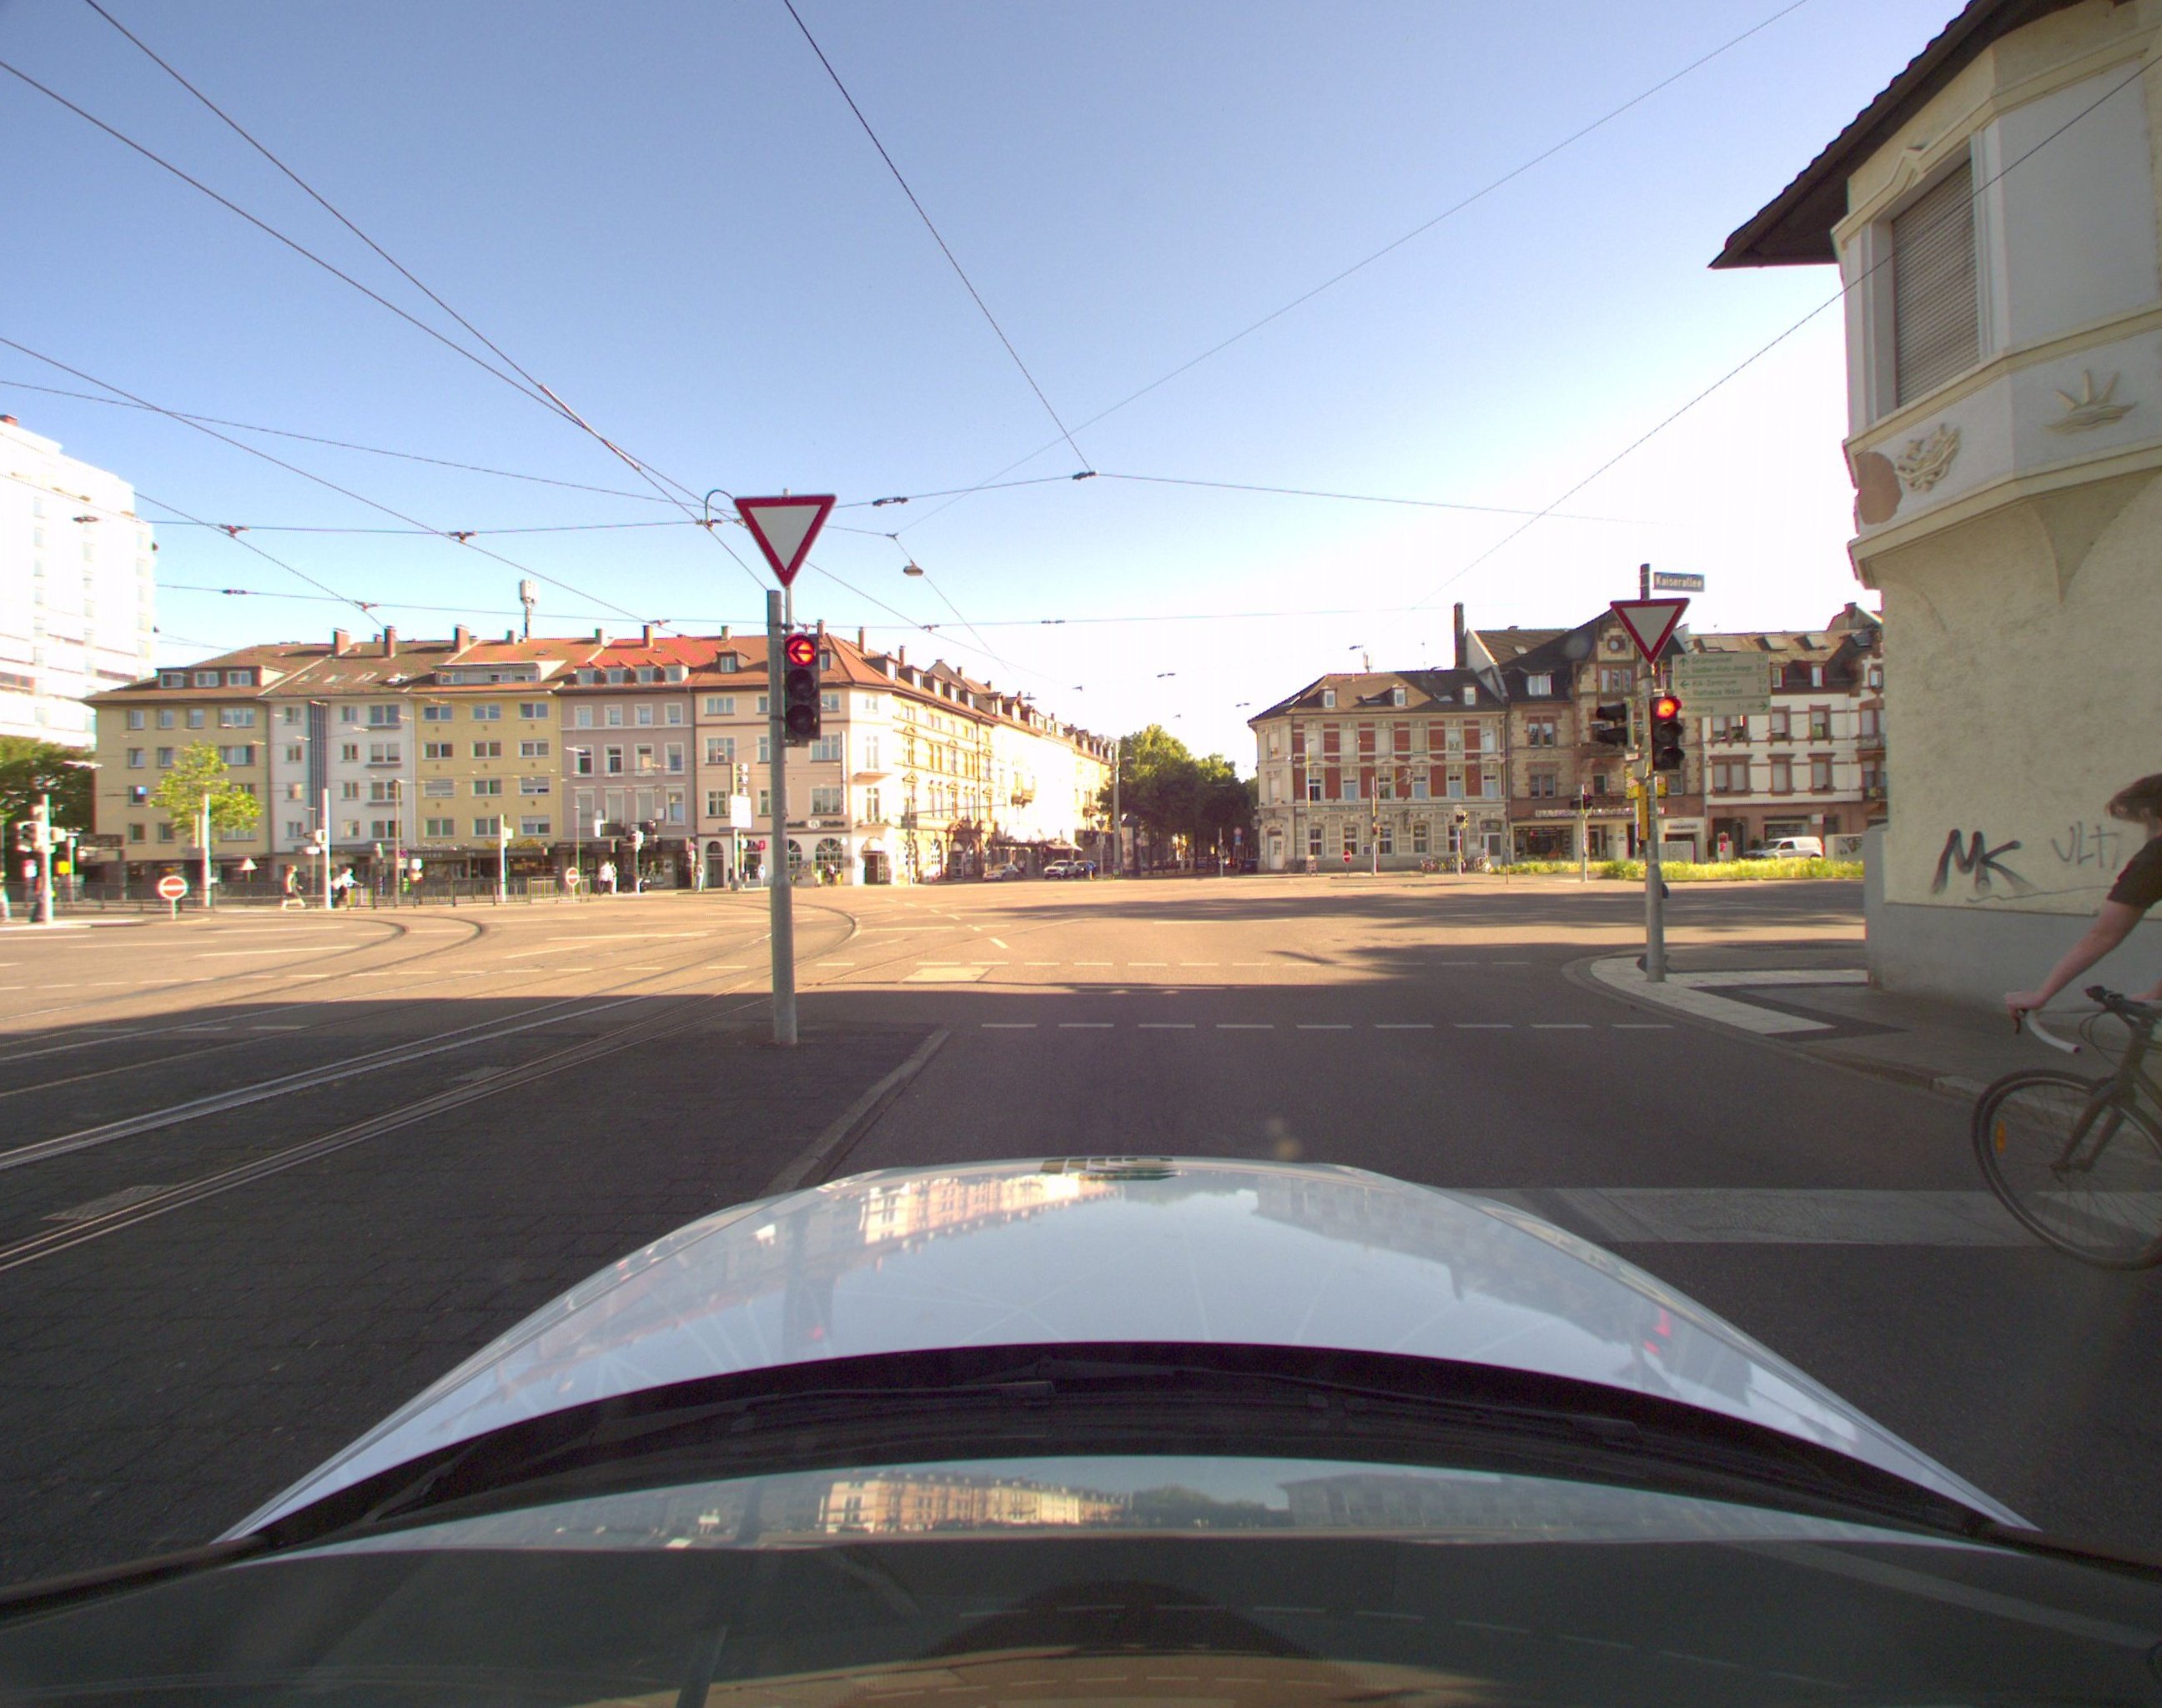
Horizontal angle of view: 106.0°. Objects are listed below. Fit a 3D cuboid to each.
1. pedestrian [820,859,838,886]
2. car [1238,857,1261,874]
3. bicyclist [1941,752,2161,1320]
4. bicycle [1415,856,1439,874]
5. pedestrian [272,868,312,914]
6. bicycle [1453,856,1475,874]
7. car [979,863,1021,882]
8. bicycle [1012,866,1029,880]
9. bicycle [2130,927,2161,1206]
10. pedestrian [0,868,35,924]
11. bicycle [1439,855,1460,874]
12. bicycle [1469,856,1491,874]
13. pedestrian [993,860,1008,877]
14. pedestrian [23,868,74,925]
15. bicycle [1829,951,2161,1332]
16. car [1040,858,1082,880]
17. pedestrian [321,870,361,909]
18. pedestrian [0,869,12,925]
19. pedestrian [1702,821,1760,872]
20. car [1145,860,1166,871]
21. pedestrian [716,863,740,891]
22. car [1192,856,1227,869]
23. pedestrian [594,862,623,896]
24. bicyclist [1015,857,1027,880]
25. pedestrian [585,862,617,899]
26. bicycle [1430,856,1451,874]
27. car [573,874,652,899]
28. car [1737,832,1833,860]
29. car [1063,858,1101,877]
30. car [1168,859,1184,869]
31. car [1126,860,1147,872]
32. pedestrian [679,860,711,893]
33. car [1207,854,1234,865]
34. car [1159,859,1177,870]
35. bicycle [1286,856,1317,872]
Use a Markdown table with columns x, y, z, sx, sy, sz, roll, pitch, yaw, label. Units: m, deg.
| x | y | z | sx | sy | sz | roll | pitch | yaw | label |
| --- | --- | --- | --- | --- | --- | --- | --- | --- | --- |
| -16.741 | 1.193 | 54.066 | 1.048 | 1.744 | 0.805 | -1 | -1 | -14 | pedestrian |
| 17.020 | 1.135 | 82.215 | 1.978 | 1.585 | 4.017 | -2 | 0 | 16 | car |
| 3.606 | 0.559 | 2.592 | 0.559 | 1.754 | 1.102 | -2 | 0 | 4 | bicyclist |
| 22.505 | 0.696 | 52.986 | 0.802 | 1.143 | 2.178 | -2 | 0 | 7 | bicycle |
| -29.162 | 1.355 | 30.110 | 0.817 | 1.655 | 0.957 | -2 | -1 | 39 | pedestrian |
| 24.784 | 0.706 | 52.689 | 0.615 | 1.143 | 2.178 | -2 | 0 | 7 | bicycle |
| -6.678 | 1.517 | 67.380 | 1.883 | 1.455 | 4.020 | -2 | 0 | 20 | car |
| -4.811 | 1.508 | 65.294 | 0.675 | 1.066 | 2.133 | -2 | 0 | 14 | bicycle |
| 4.541 | 0.855 | 2.444 | 0.516 | 1.116 | 1.815 | -2 | 0 | 4 | bicycle |
| -34.821 | 1.364 | 26.468 | 0.792 | 1.771 | 0.673 | -1 | 0 | -27 | pedestrian |
| 23.863 | 0.667 | 52.784 | 0.615 | 1.143 | 2.178 | -2 | 0 | 7 | bicycle |
| 25.761 | 0.685 | 52.599 | 0.606 | 1.136 | 2.139 | -2 | 0 | 7 | bicycle |
| -7.405 | 1.363 | 74.738 | 0.921 | 1.535 | 1.142 | -2 | -1 | 16 | pedestrian |
| -32.949 | 1.346 | 25.999 | 0.792 | 1.771 | 0.673 | -1 | 0 | -27 | pedestrian |
| 3.621 | 0.946 | 2.669 | 0.642 | 1.010 | 1.930 | -2 | 0 | 4 | bicycle |
| -1.603 | 1.246 | 67.537 | 1.977 | 1.684 | 4.413 | -2 | 0 | 20 | car |
| -28.249 | 1.340 | 31.100 | 0.814 | 1.454 | 0.937 | -2 | 0 | 34 | pedestrian |
| -34.471 | 1.354 | 25.568 | 0.792 | 1.771 | 0.867 | -1 | 0 | -27 | pedestrian |
| 27.119 | -0.311 | 33.999 | 1.314 | 2.044 | 1.307 | -2 | 0 | 1 | pedestrian |
| 11.258 | 1.725 | 122.599 | 1.977 | 1.612 | 4.413 | -2 | 0 | 20 | car |
| -22.998 | 1.501 | 53.101 | 0.998 | 1.775 | 0.945 | -2 | 0 | 16 | pedestrian |
| 18.148 | 1.211 | 115.103 | 4.335 | 1.612 | 2.012 | -2 | 0 | 28 | car |
| -24.701 | 1.294 | 42.613 | 0.935 | 1.756 | 0.935 | -2 | 0 | 1 | pedestrian |
| -4.807 | 1.127 | 65.337 | 0.674 | 1.820 | 1.075 | -2 | 0 | 14 | bicyclist |
| -23.282 | 1.258 | 39.488 | 0.935 | 1.756 | 0.935 | -2 | 0 | 1 | pedestrian |
| 23.284 | 0.687 | 52.837 | 0.615 | 1.143 | 2.178 | -2 | 0 | 7 | bicycle |
| -30.614 | 2.138 | 53.333 | 3.974 | 1.453 | 2.000 | -1 | 0 | -1 | car |
| 45.364 | -0.485 | 52.555 | 4.317 | 1.640 | 2.152 | -2 | 0 | 1 | car |
| 0.122 | 1.213 | 74.014 | 1.977 | 1.612 | 4.413 | -2 | 0 | 20 | car |
| 15.834 | 1.713 | 136.166 | 1.750 | 1.549 | 4.411 | -2 | 0 | 18 | car |
| 7.537 | 1.662 | 110.980 | 1.978 | 1.486 | 4.017 | -1 | 0 | 16 | car |
| -20.123 | 1.149 | 42.462 | 1.076 | 1.685 | 1.104 | -2 | 0 | 1 | pedestrian |
| 22.834 | 0.963 | 133.302 | 3.948 | 1.706 | 2.013 | -2 | 0 | 32 | car |
| 13.916 | 1.694 | 130.332 | 1.822 | 1.552 | 4.412 | -2 | 0 | 19 | car |
| 15.505 | 0.719 | 57.189 | 2.081 | 1.124 | 0.366 | 0 | -1 | -3 | bicycle |
